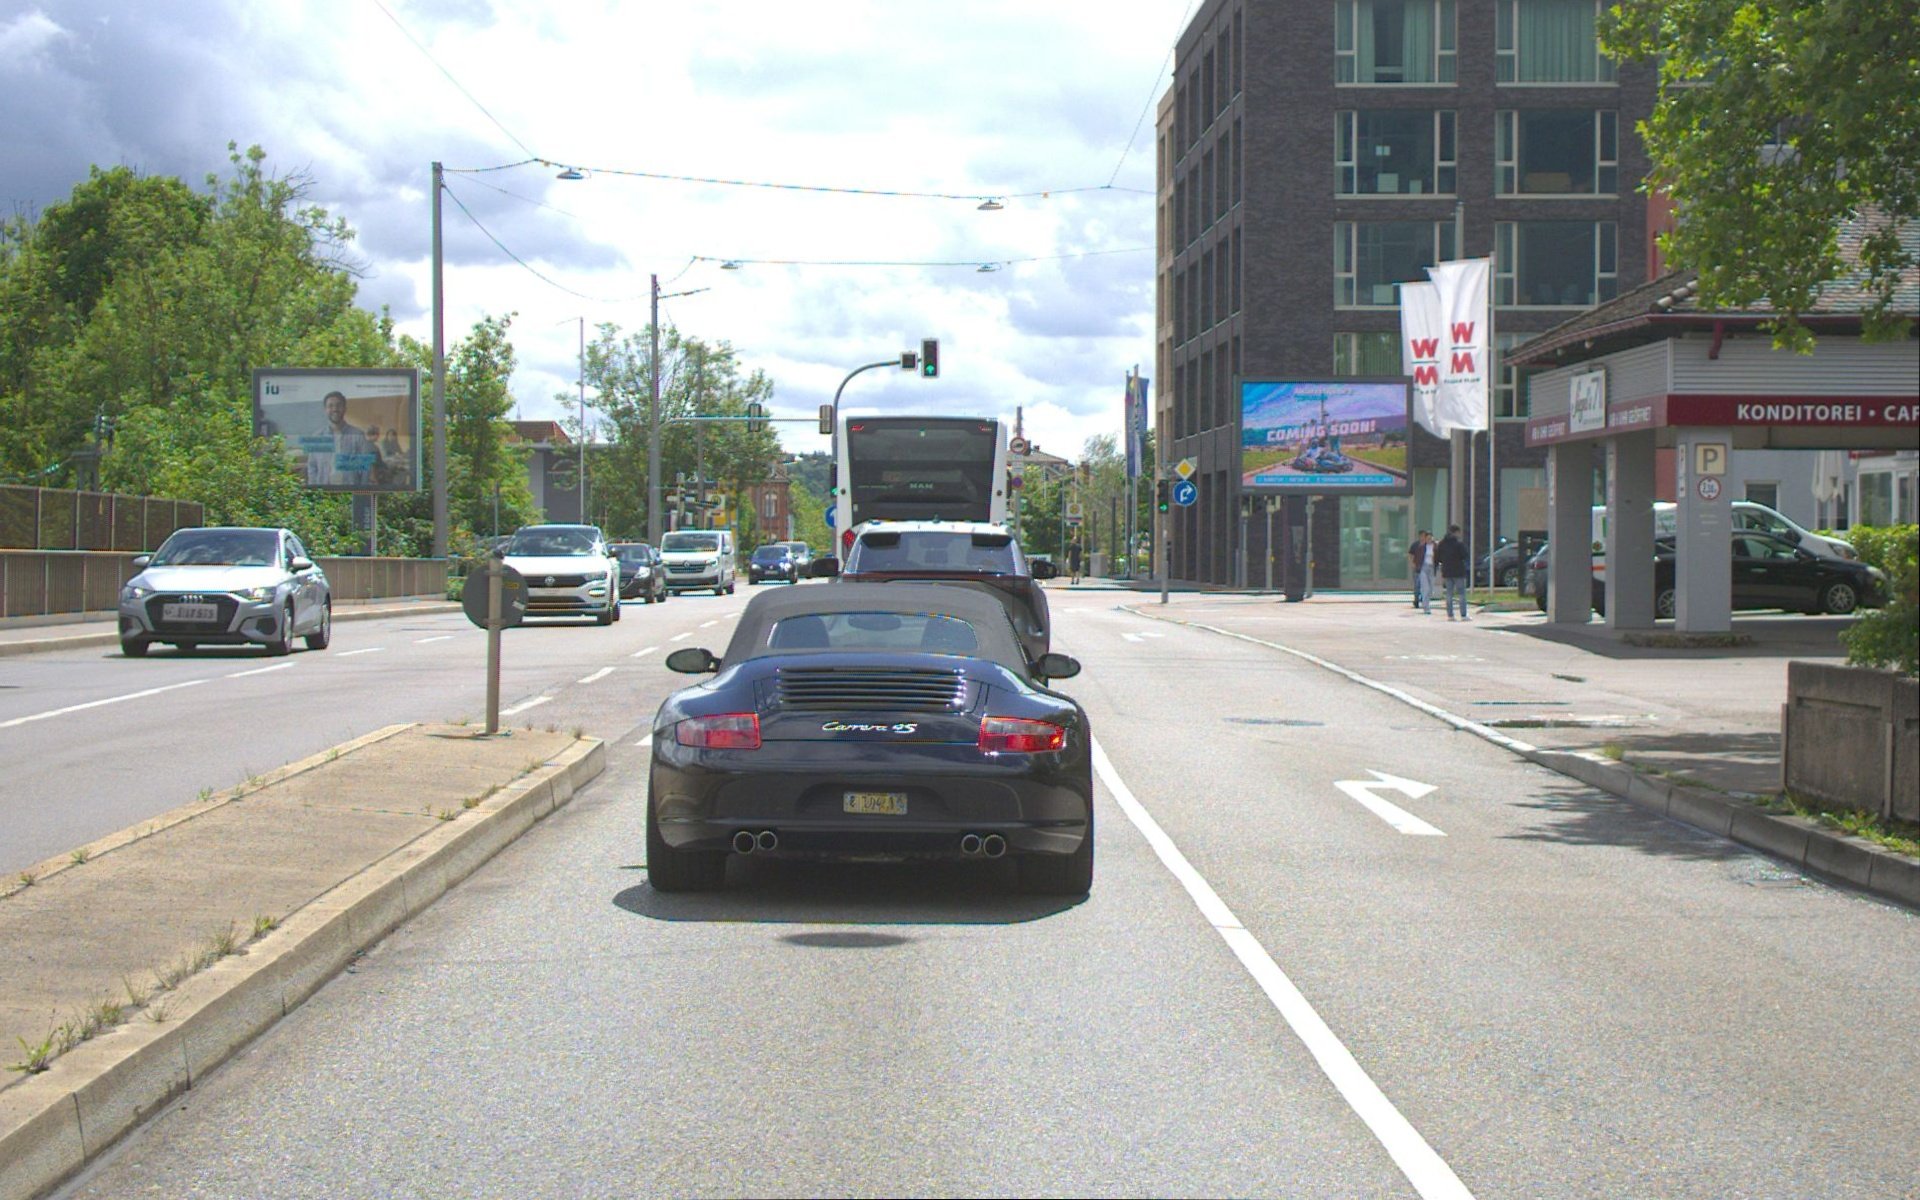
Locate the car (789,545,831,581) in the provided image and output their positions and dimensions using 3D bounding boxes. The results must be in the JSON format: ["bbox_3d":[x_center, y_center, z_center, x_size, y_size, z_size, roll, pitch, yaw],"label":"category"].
[{"bbox_3d":[-6.543,-1.636,150.334,1.662,1.542,3.803,0,1,0],"label":"car"}]

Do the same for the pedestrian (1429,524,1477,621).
[{"bbox_3d":[8.690,-0.489,60.609,0.681,1.690,0.597,1,1,25],"label":"pedestrian"}]

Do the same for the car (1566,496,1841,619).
[{"bbox_3d":[12.694,-0.730,58.902,4.230,1.930,2.029,-2,0,1],"label":"car"}]

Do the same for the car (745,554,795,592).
[{"bbox_3d":[-7.216,-1.031,130.909,1.662,1.411,3.803,0,1,0],"label":"car"}]

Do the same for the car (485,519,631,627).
[{"bbox_3d":[-6.127,-0.432,52.820,1.810,1.555,4.208,1,1,-1],"label":"car"}]

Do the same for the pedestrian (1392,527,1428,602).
[{"bbox_3d":[10.072,-0.797,76.957,0.670,1.655,0.742,0,0,-2],"label":"pedestrian"}]

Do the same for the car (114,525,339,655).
[{"bbox_3d":[-8.049,-0.148,38.069,1.637,1.358,4.195,0,1,-1],"label":"car"}]

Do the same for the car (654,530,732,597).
[{"bbox_3d":[-7.935,-1.096,102.576,1.901,1.880,5.313,-2,1,0],"label":"car"}]

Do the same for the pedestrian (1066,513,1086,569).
[{"bbox_3d":[4.176,-2.111,123.688,0.666,2.007,0.769,0,0,-2],"label":"pedestrian"}]

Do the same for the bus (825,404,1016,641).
[{"bbox_3d":[-0.524,-1.478,56.430,2.689,3.244,12.060,2,4,0],"label":"bus"}]

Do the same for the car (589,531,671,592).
[{"bbox_3d":[-7.967,-0.922,83.279,1.628,1.425,4.000,1,1,0],"label":"car"}]

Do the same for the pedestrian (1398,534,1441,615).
[{"bbox_3d":[9.661,-0.542,72.300,0.707,1.690,0.924,1,1,-3],"label":"pedestrian"}]

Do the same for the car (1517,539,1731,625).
[{"bbox_3d":[12.857,-0.355,66.710,3.759,1.436,1.719,-3,0,1],"label":"car"}]

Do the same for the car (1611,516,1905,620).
[{"bbox_3d":[12.921,-0.505,55.823,4.300,1.508,1.846,-2,0,0],"label":"car"}]

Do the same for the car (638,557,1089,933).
[{"bbox_3d":[-0.426,0.539,15.380,1.719,1.270,4.089,1,3,-1],"label":"car"}]

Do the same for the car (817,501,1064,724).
[{"bbox_3d":[-0.206,0.038,28.899,1.879,1.588,4.230,2,3,-1],"label":"car"}]
